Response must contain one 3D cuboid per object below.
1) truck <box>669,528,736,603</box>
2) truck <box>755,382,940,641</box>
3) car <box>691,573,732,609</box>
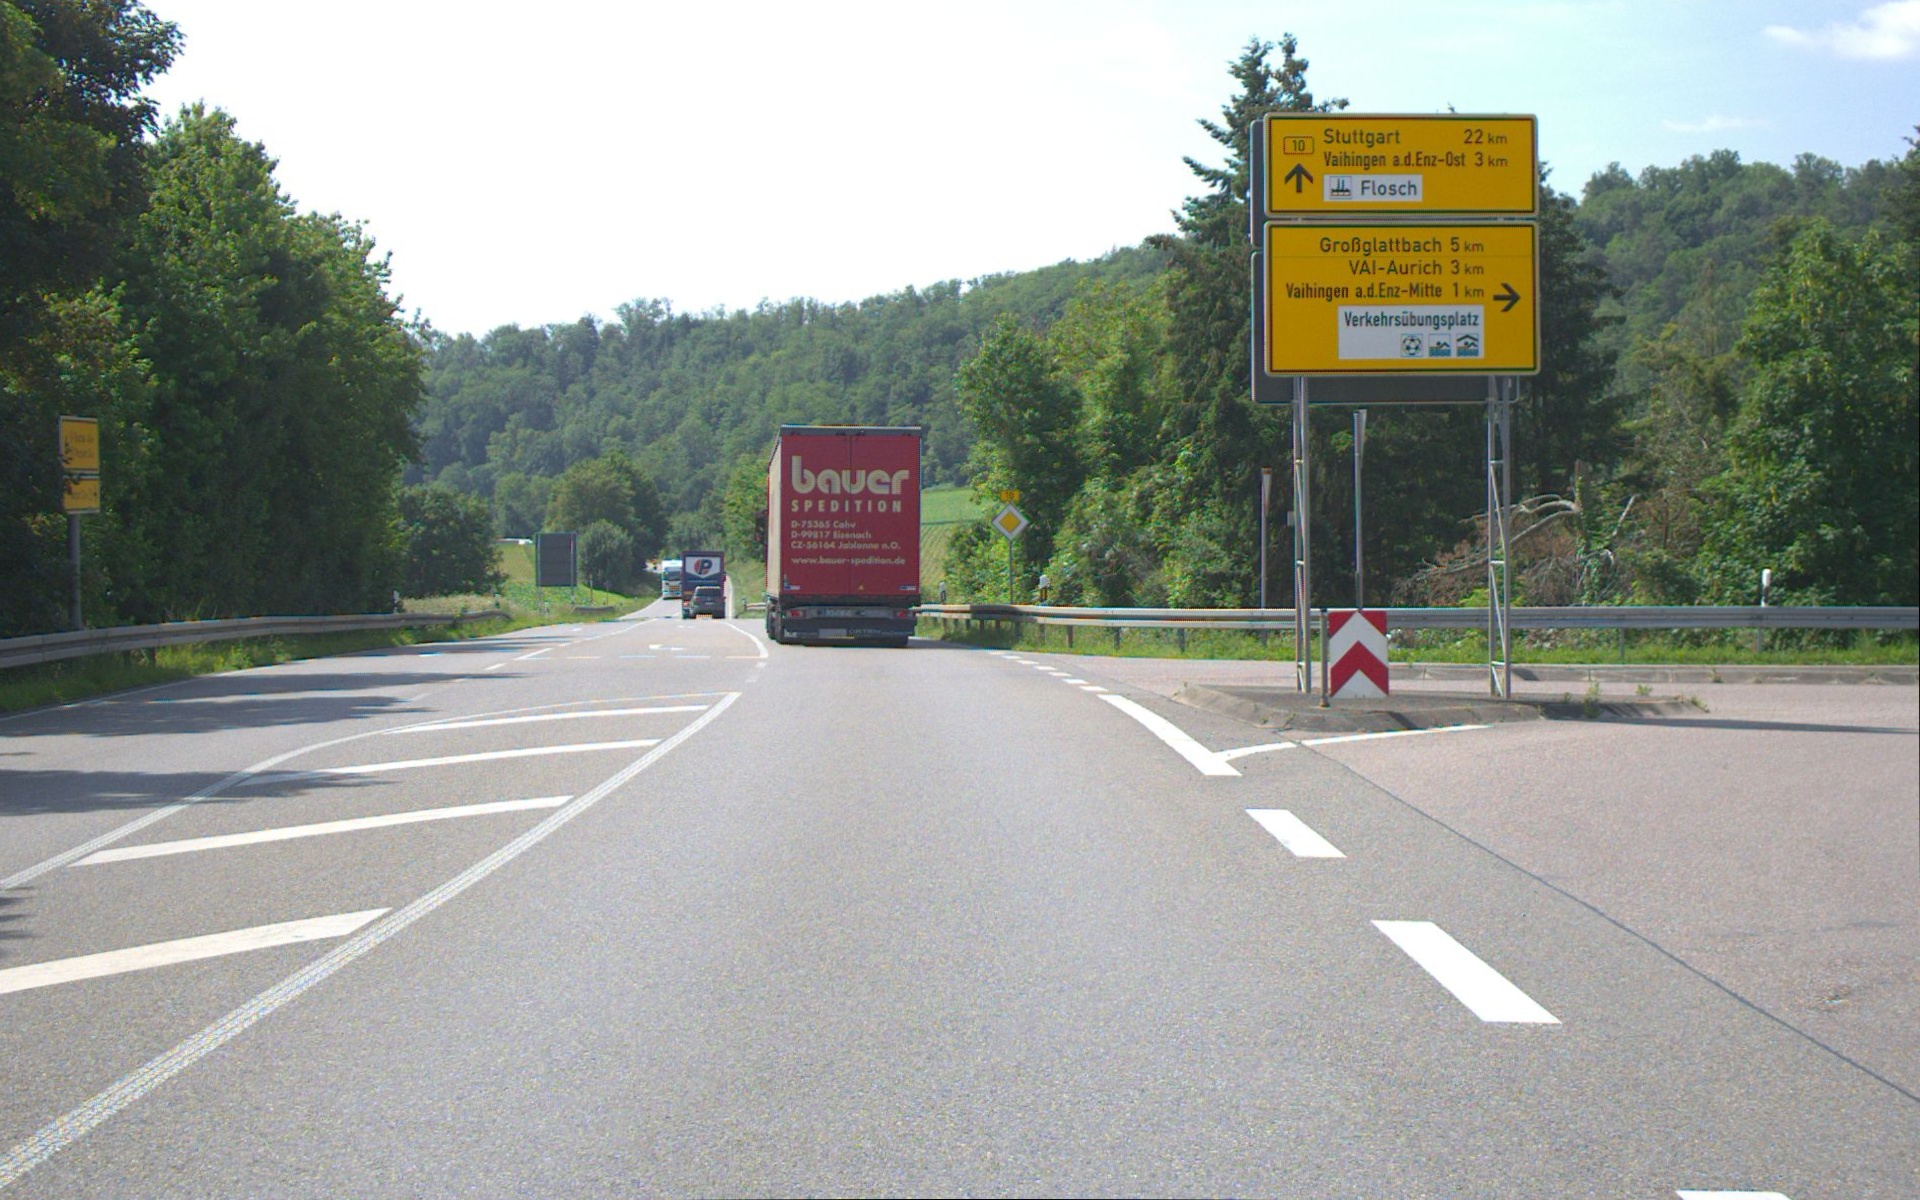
[{"bbox_3d":[-16.151,-2.095,214.664,3.904,4.355,13.294,2,0,-5],"label":"truck"},{"bbox_3d":[-2.403,-1.625,68.093,3.172,4.609,13.545,0,0,-4],"label":"truck"},{"bbox_3d":[-13.277,-0.478,183.354,1.993,1.804,4.001,3,0,-5],"label":"car"}]
